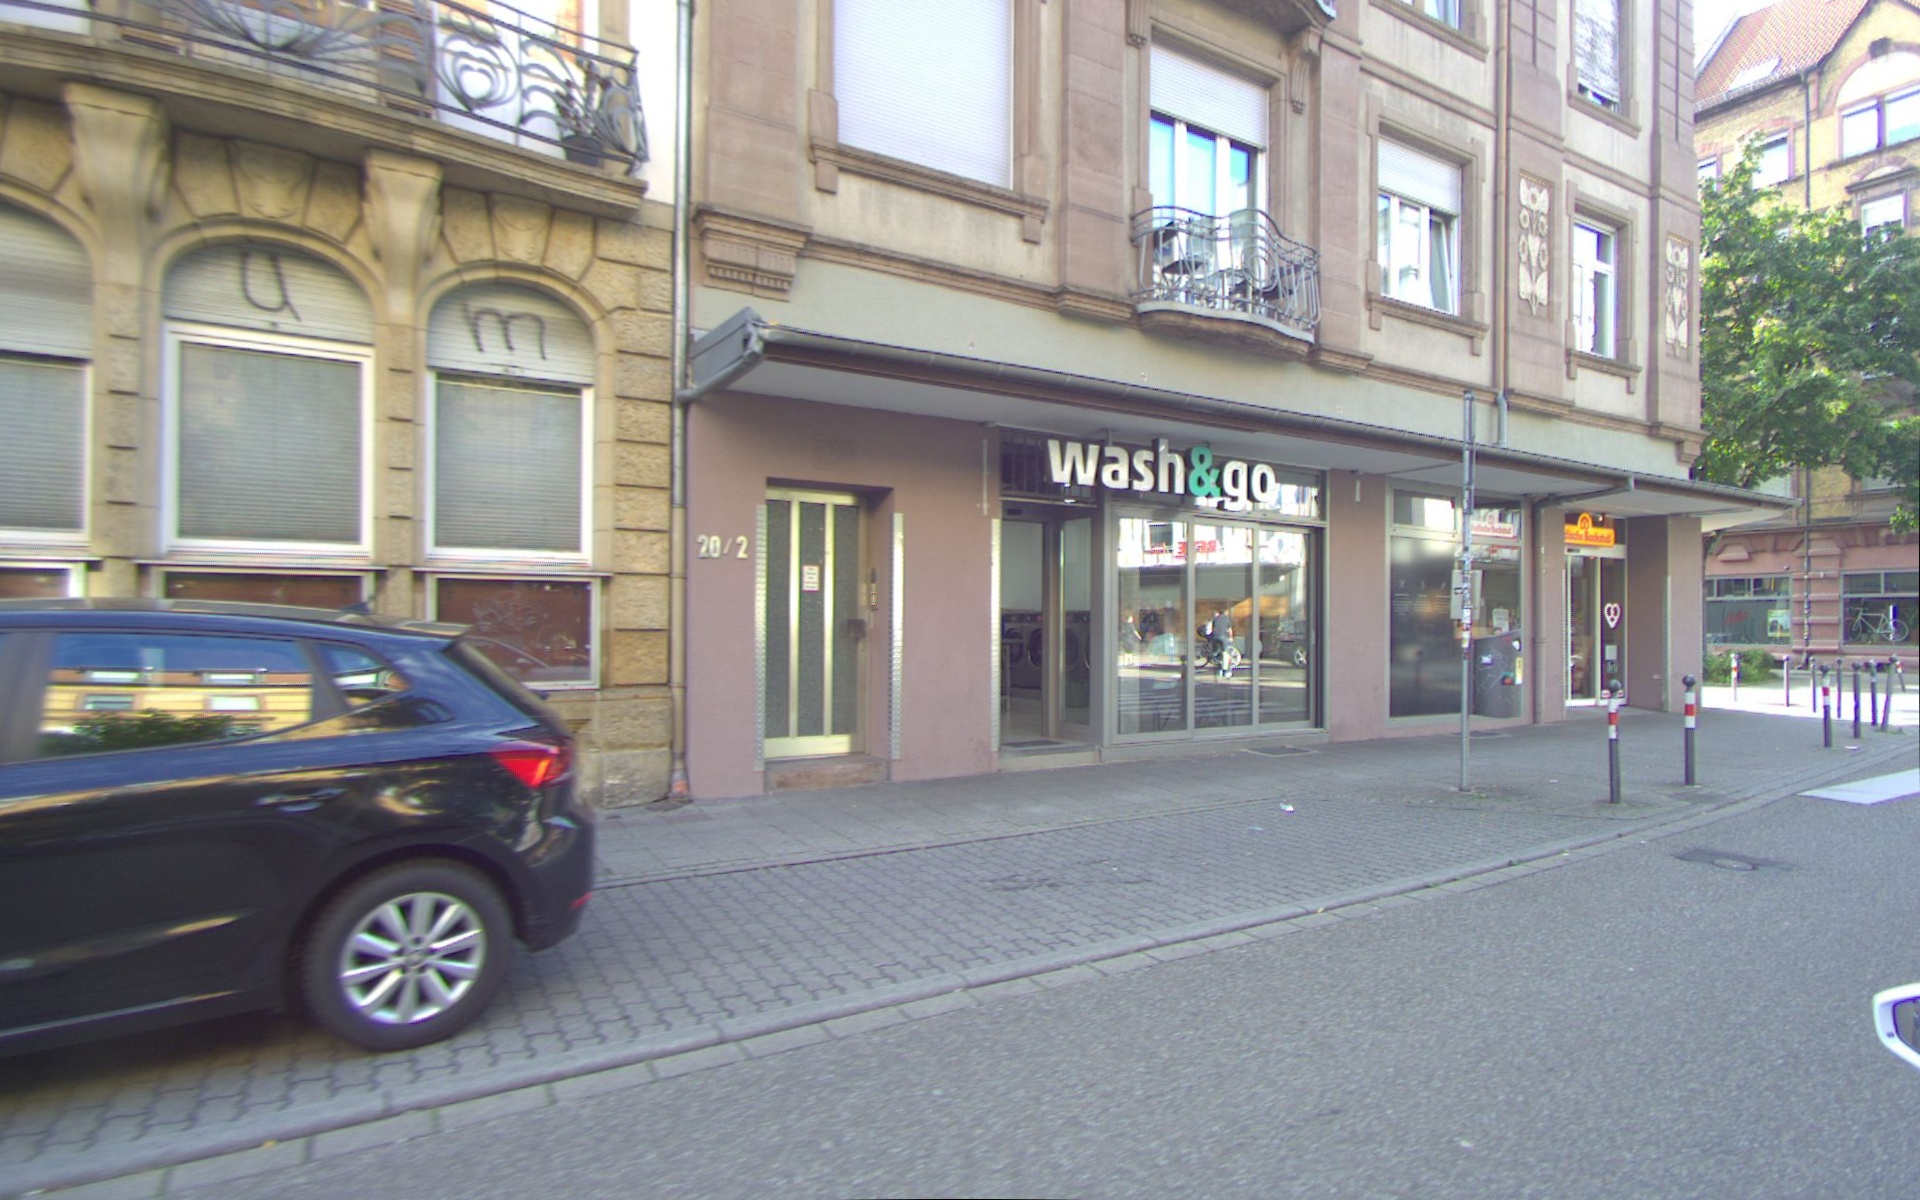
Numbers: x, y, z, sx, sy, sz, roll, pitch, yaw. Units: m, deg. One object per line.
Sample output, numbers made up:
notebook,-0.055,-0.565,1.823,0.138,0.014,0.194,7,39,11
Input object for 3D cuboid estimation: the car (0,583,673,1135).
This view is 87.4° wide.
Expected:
car,-3.313,0.690,3.296,4.197,1.439,1.983,1,-2,-32
